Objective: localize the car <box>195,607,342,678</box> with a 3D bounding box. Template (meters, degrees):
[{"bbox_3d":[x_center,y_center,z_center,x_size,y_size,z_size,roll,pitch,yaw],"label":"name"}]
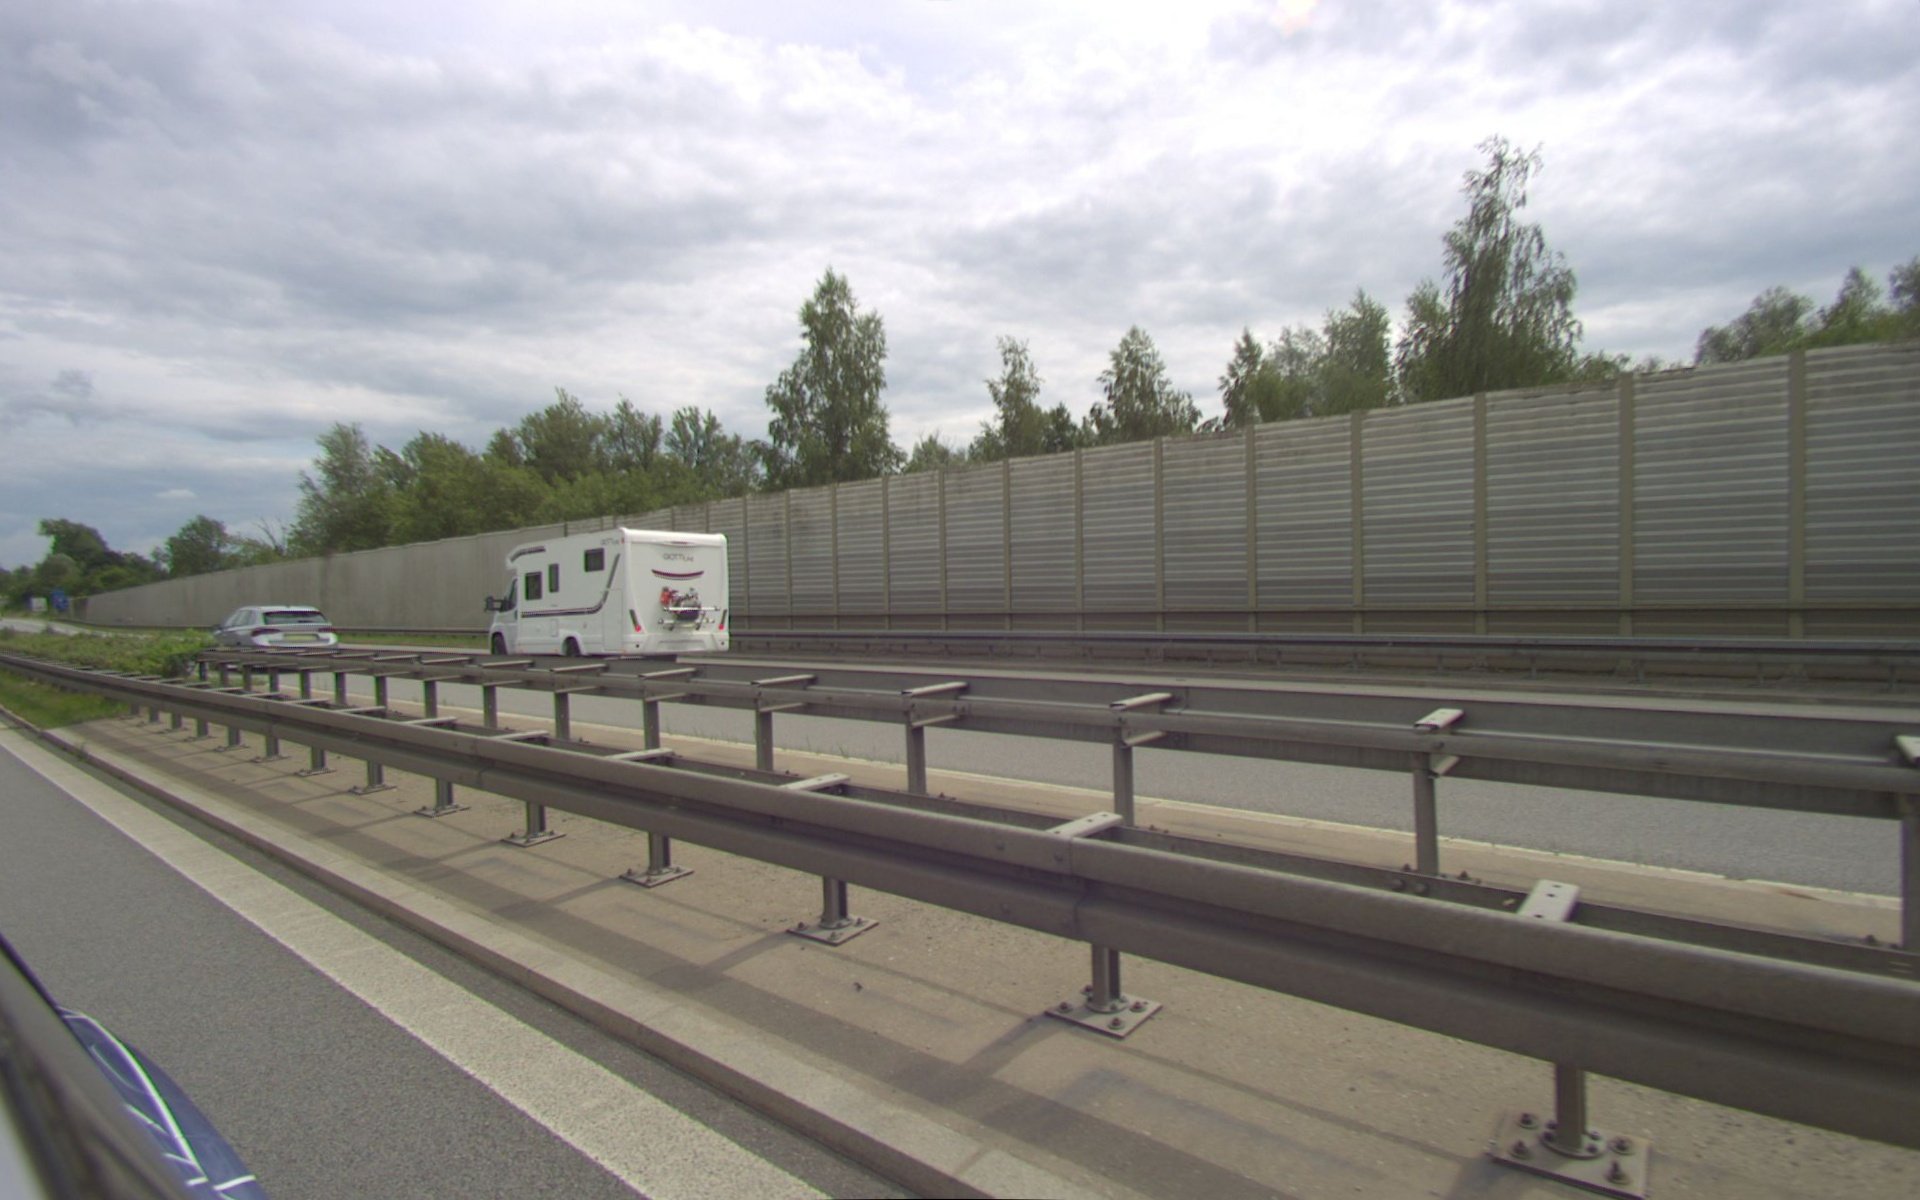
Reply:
[{"bbox_3d":[-15.622,0.929,22.774,4.646,1.431,1.674,-2,-2,42],"label":"car"}]

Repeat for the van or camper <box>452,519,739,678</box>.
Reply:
[{"bbox_3d":[-8.120,0.061,21.906,7.765,2.891,2.440,-2,-2,42],"label":"van or camper"}]
